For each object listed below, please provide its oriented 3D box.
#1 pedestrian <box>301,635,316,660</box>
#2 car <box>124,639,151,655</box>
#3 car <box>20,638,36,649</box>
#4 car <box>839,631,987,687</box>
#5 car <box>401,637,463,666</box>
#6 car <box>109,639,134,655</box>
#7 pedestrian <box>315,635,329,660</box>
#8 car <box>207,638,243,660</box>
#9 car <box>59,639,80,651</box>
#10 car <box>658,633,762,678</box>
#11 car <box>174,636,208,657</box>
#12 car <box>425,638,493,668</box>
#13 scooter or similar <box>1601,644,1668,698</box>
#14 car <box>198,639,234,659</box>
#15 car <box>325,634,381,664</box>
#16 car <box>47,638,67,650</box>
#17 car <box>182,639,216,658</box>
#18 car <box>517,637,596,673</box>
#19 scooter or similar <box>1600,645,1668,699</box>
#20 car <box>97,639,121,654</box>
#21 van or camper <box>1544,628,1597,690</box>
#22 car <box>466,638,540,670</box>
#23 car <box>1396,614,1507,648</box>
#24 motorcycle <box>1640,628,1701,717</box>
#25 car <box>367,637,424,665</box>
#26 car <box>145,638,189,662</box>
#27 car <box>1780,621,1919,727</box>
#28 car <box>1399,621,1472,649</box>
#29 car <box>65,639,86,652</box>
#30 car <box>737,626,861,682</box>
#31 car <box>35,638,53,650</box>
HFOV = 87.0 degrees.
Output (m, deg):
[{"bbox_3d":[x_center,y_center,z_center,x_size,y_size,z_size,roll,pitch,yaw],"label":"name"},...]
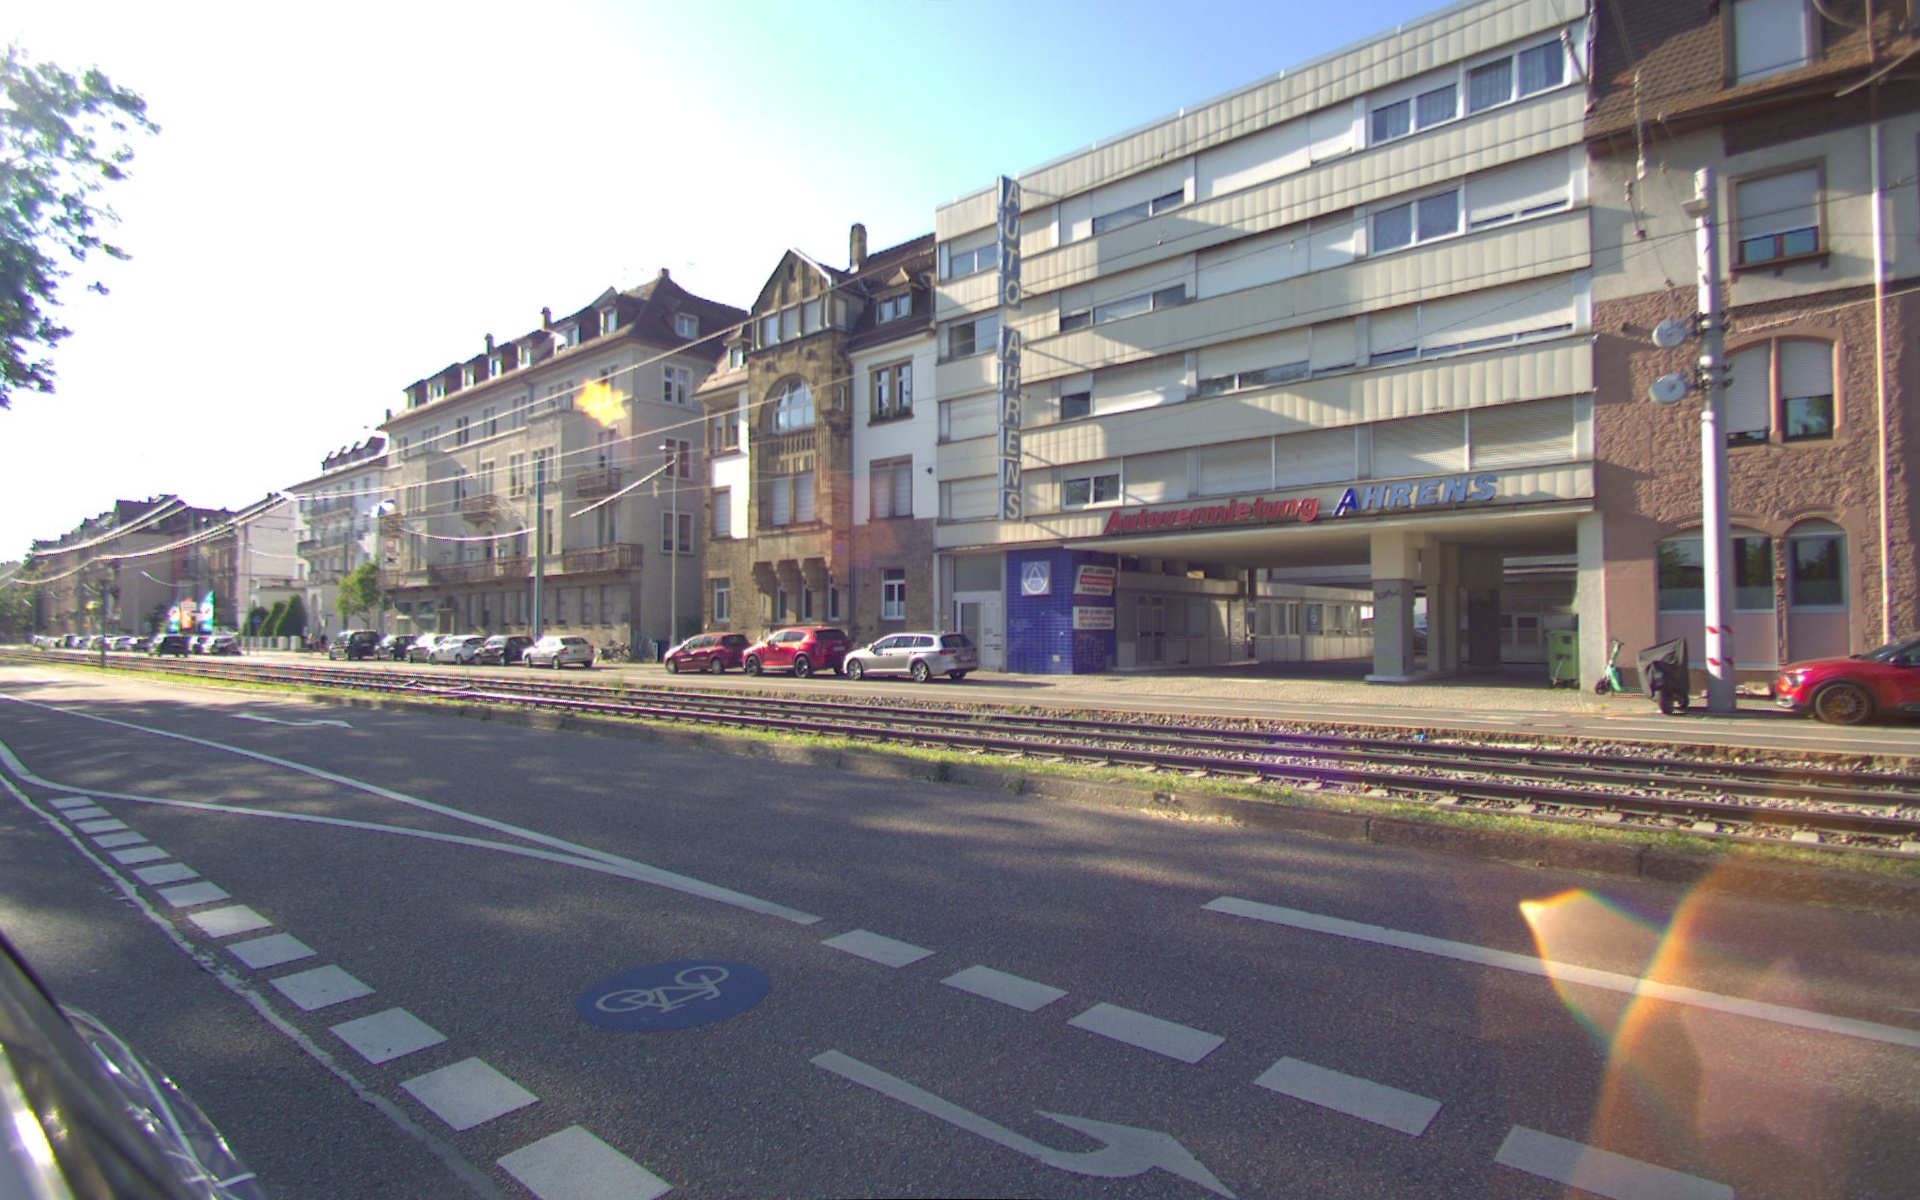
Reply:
[{"bbox_3d":[-48.553,3.544,75.418,0.677,1.803,0.716,-2,-3,41],"label":"pedestrian"},{"bbox_3d":[-84.469,4.789,103.870,3.449,1.602,1.603,-2,-1,41],"label":"car"},{"bbox_3d":[-150.853,7.051,163.853,3.449,1.602,1.603,-2,-1,41],"label":"car"},{"bbox_3d":[-1.477,1.743,30.637,4.379,1.510,1.837,-2,-1,40],"label":"car"},{"bbox_3d":[-28.798,2.787,55.194,3.822,1.490,1.778,-2,-1,42],"label":"car"},{"bbox_3d":[-91.346,5.104,110.270,3.449,1.602,1.603,-2,-1,41],"label":"car"},{"bbox_3d":[-47.962,3.569,76.047,0.677,1.803,0.716,-2,-3,41],"label":"pedestrian"},{"bbox_3d":[-57.810,3.815,79.568,3.407,1.644,1.655,-2,-1,42],"label":"car"},{"bbox_3d":[-117.536,5.940,133.543,3.449,1.602,1.603,-2,-1,41],"label":"car"},{"bbox_3d":[-9.281,2.048,37.538,3.722,1.507,1.736,-2,-1,35],"label":"car"},{"bbox_3d":[-68.881,4.111,90.649,3.879,1.800,1.705,-2,-1,41],"label":"car"},{"bbox_3d":[-25.509,2.689,51.505,3.530,1.457,1.624,-2,-1,34],"label":"car"},{"bbox_3d":[13.955,1.455,20.954,1.121,1.077,0.202,-2,-2,42],"label":"scooter or similar"},{"bbox_3d":[-61.338,4.015,83.411,3.387,1.583,1.662,-2,-1,41],"label":"car"},{"bbox_3d":[-37.537,3.020,62.560,3.914,1.750,1.851,-2,-1,42],"label":"car"},{"bbox_3d":[-123.222,6.014,138.059,3.449,1.602,1.603,-2,-1,41],"label":"car"},{"bbox_3d":[-65.454,4.140,87.030,3.387,1.583,1.662,-2,-1,41],"label":"car"},{"bbox_3d":[-18.150,2.460,45.460,3.822,1.490,1.778,-2,-1,42],"label":"car"},{"bbox_3d":[13.814,1.460,20.757,1.121,1.077,0.202,-2,-2,42],"label":"scooter or similar"},{"bbox_3d":[-95.675,5.206,113.805,3.449,1.602,1.603,-2,-1,41],"label":"car"},{"bbox_3d":[14.061,1.347,23.297,0.803,1.368,1.409,-2,-3,41],"label":"van or camper"},{"bbox_3d":[-22.169,2.584,49.002,3.819,1.441,1.779,-2,-1,40],"label":"car"},{"bbox_3d":[34.362,2.207,70.902,6.596,2.275,2.330,-2,-3,41],"label":"car"},{"bbox_3d":[12.706,1.266,18.077,0.628,1.433,1.836,-3,-1,41],"label":"motorcycle"},{"bbox_3d":[-33.094,2.963,59.294,3.822,1.490,1.778,-2,-1,42],"label":"car"},{"bbox_3d":[-56.843,3.551,72.556,3.999,1.697,1.798,-2,-3,42],"label":"car"},{"bbox_3d":[15.377,1.114,15.578,4.207,1.510,1.837,-2,0,40],"label":"car"},{"bbox_3d":[32.266,2.389,68.673,4.120,1.825,1.869,-2,-3,40],"label":"car"},{"bbox_3d":[-113.678,5.855,130.102,3.449,1.602,1.603,-2,-1,41],"label":"car"},{"bbox_3d":[-5.479,1.796,34.124,4.262,1.700,1.836,-2,-1,42],"label":"car"},{"bbox_3d":[-131.420,6.316,145.177,3.449,1.602,1.603,-2,-1,41],"label":"car"}]
